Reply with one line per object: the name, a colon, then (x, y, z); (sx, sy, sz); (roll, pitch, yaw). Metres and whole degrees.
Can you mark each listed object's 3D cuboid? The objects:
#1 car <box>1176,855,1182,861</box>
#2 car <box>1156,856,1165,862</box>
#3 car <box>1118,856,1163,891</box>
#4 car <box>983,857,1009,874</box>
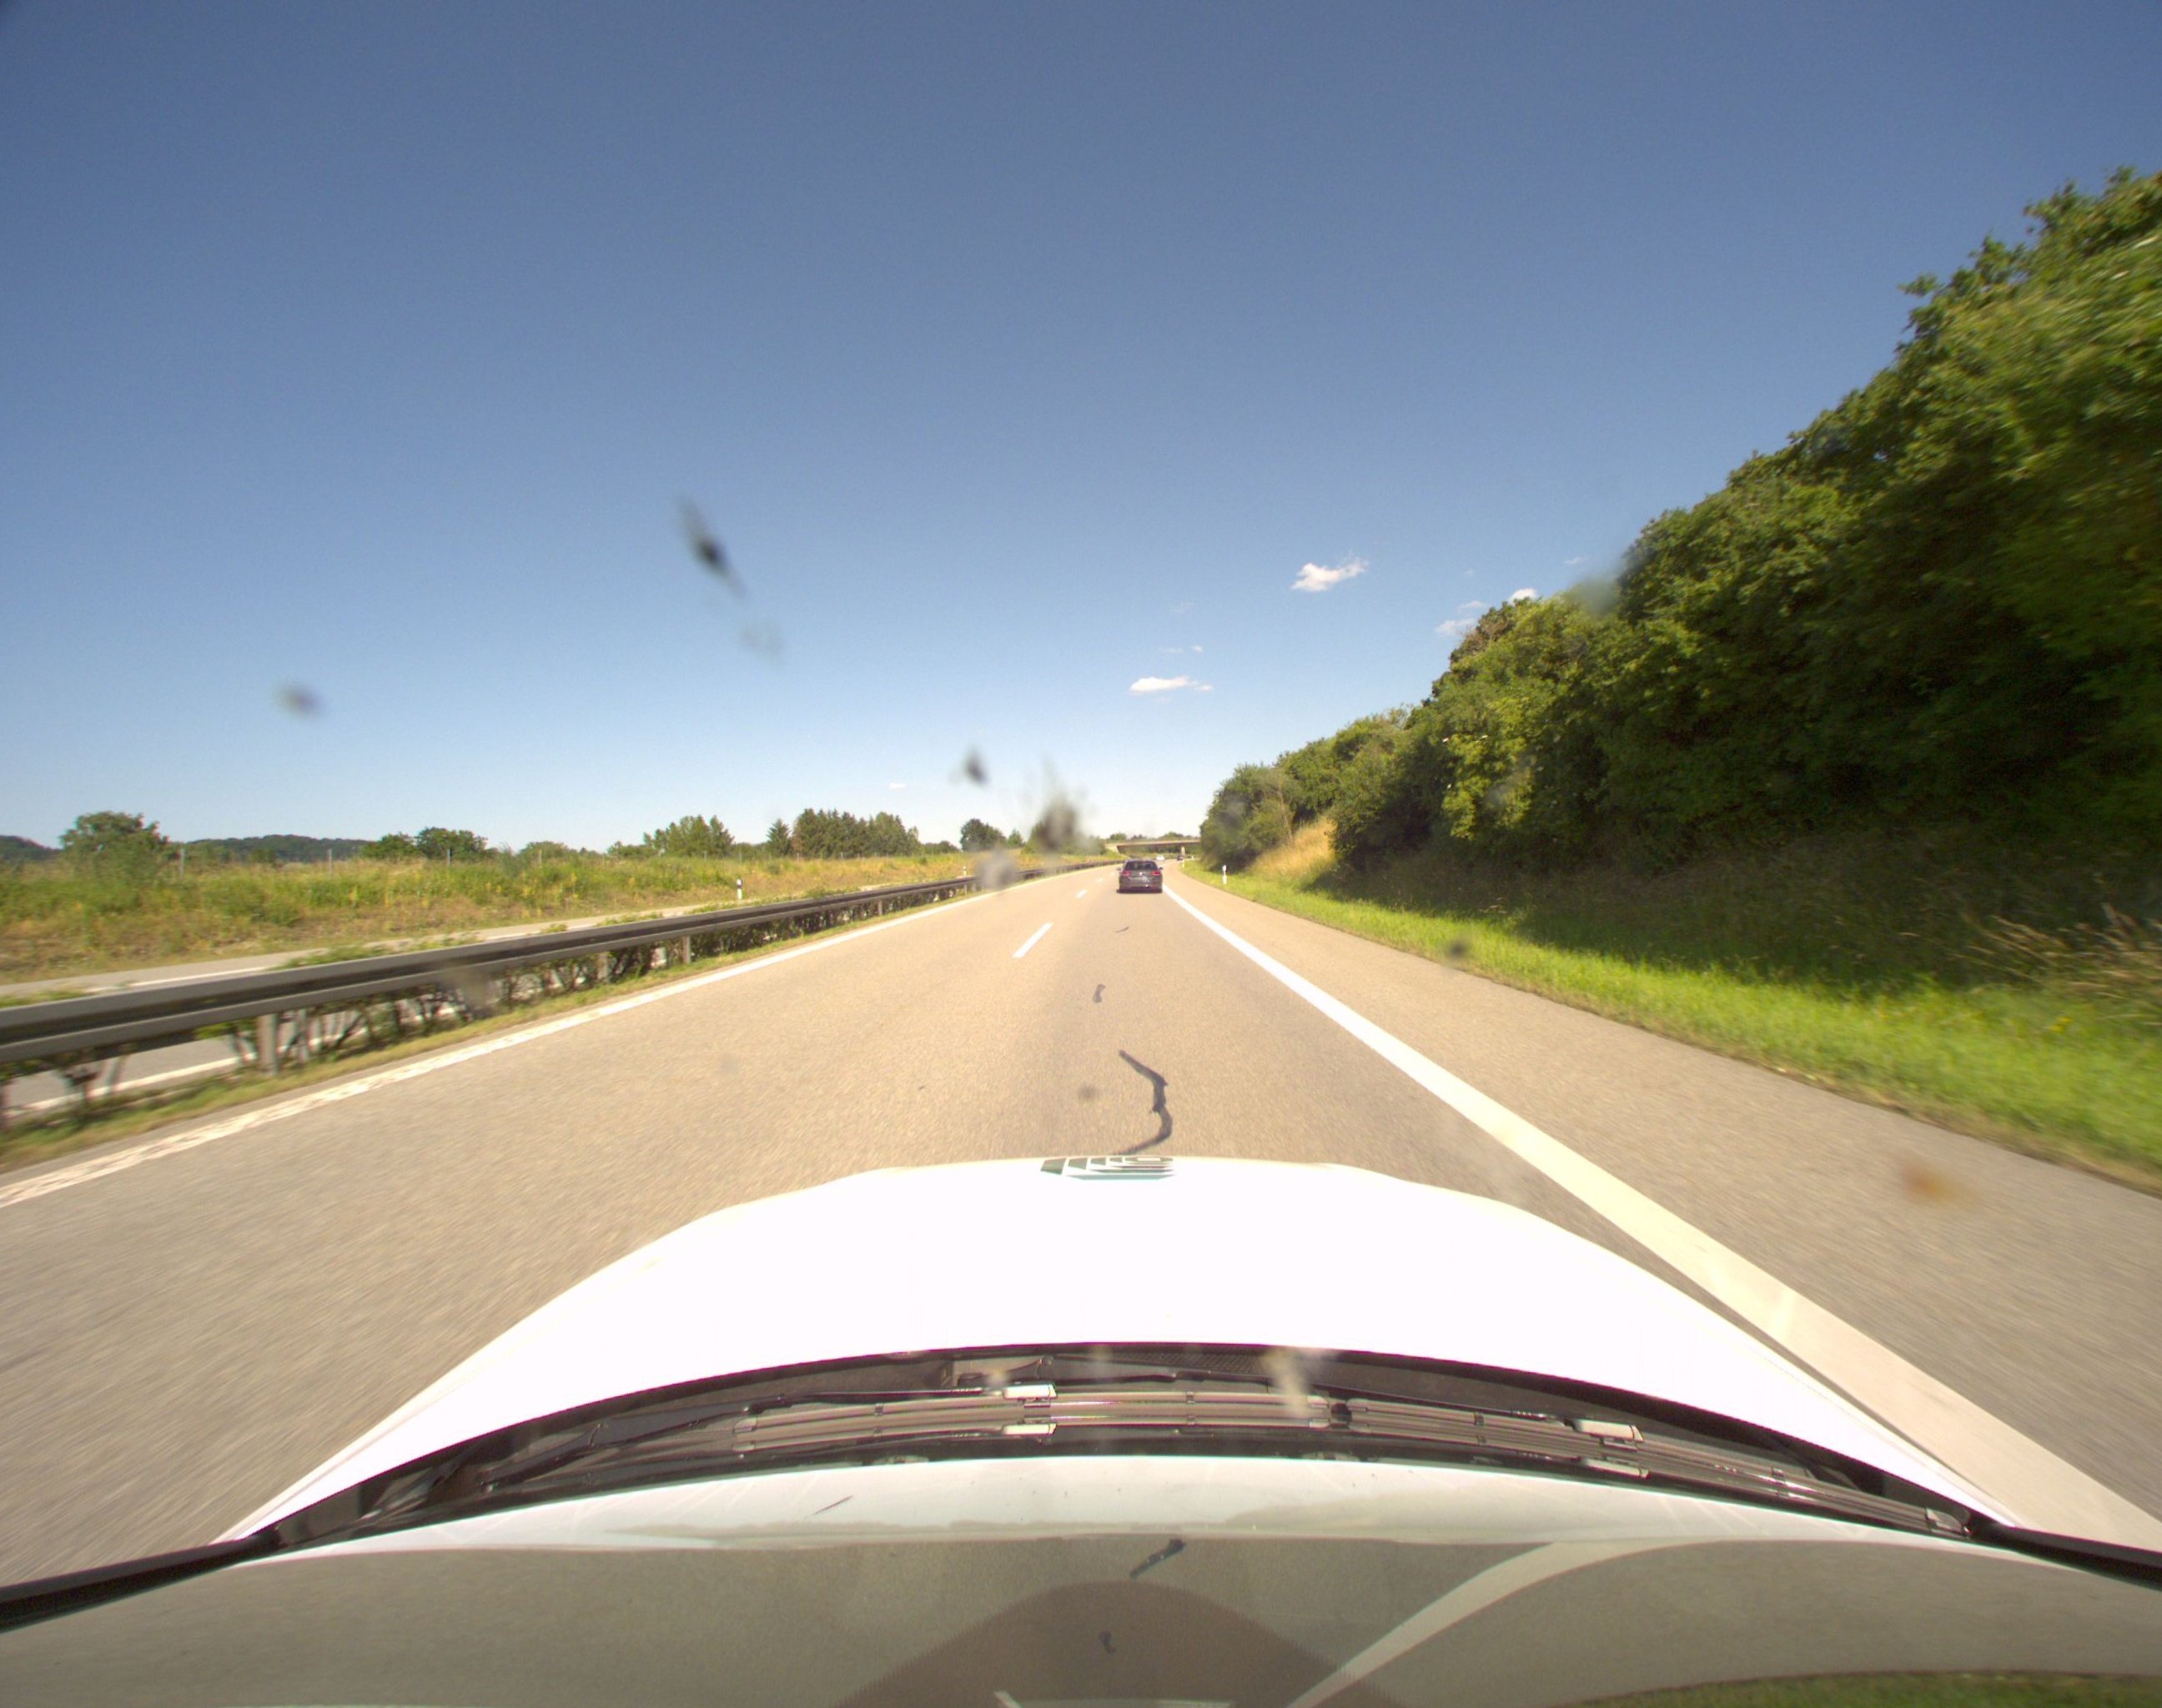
car: (25.017, 0.947, 207.874); (1.702, 1.387, 3.360); (0, -2, 6)
car: (19.311, 1.165, 197.866); (1.996, 1.345, 4.007); (0, -2, 7)
car: (2.555, 0.790, 34.333); (1.782, 1.344, 4.006); (0, 0, 6)
car: (-8.662, 1.189, 83.091); (1.823, 1.552, 4.470); (-2, 1, 4)
